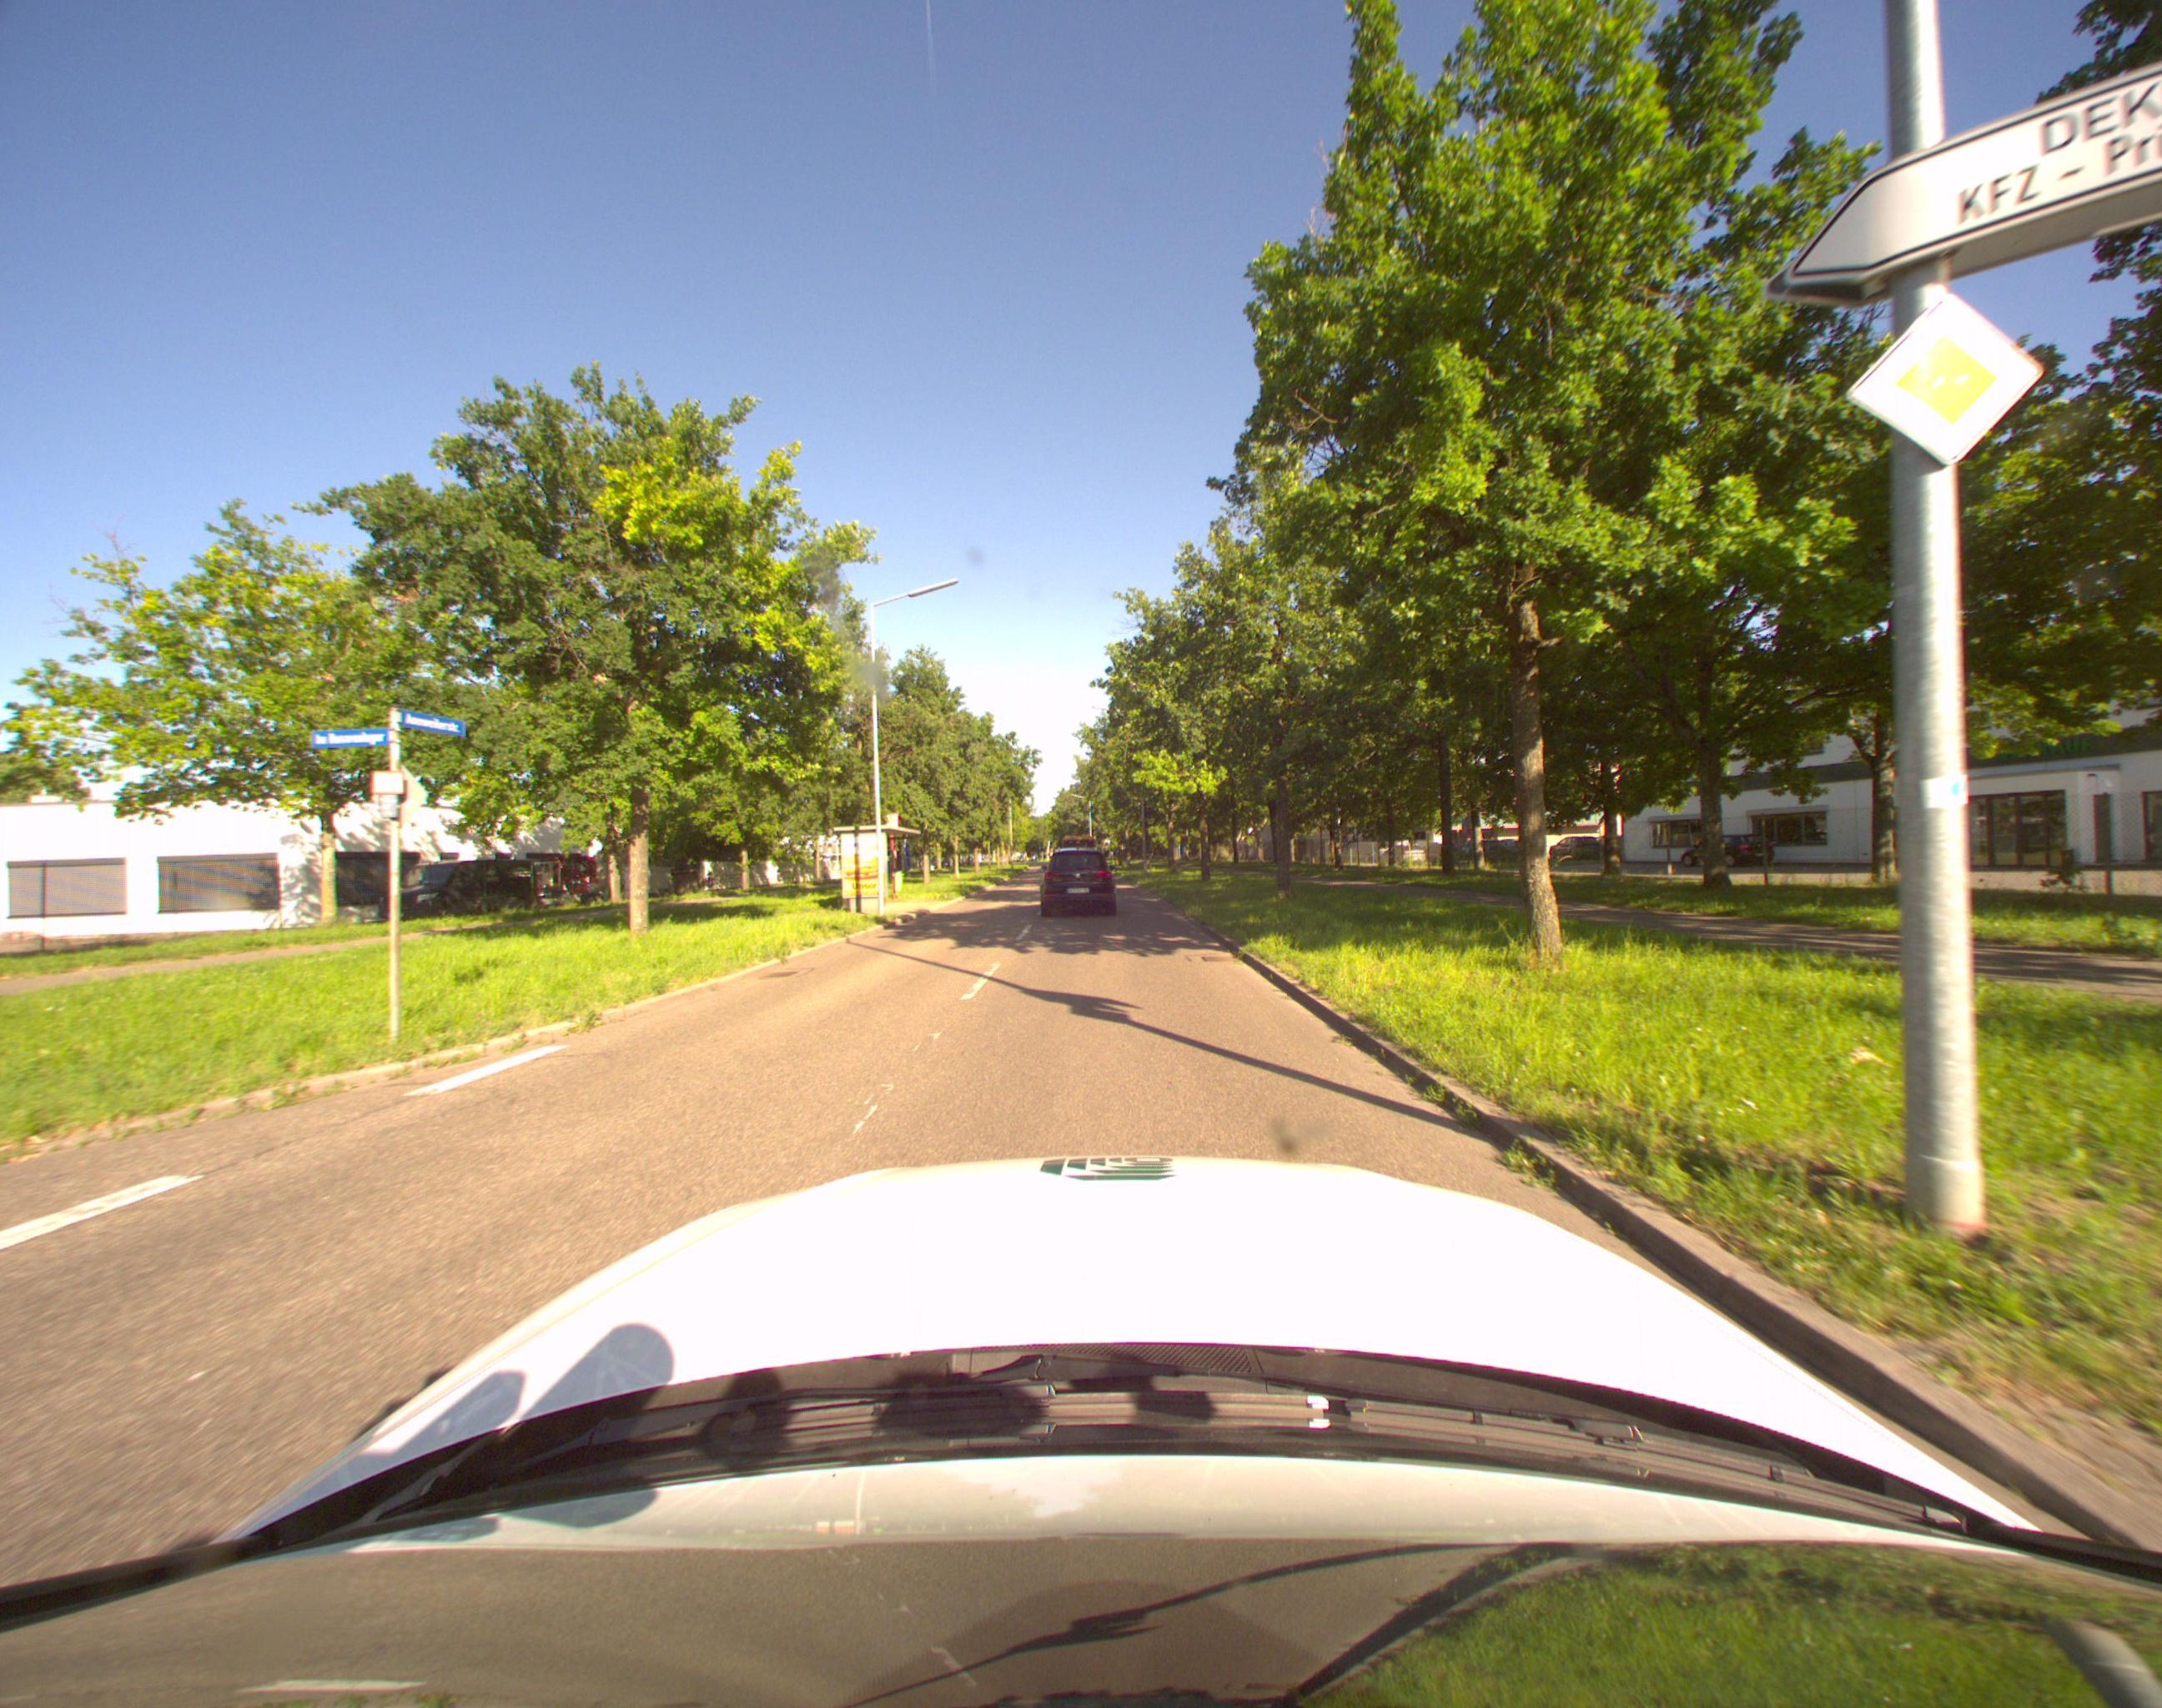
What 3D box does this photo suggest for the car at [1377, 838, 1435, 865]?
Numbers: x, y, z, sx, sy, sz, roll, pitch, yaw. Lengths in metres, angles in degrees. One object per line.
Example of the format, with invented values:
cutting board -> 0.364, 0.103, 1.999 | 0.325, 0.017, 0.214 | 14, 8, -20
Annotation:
car -> 23.444, -0.176, 58.917 | 2.178, 1.744, 4.639 | -2, 0, -2

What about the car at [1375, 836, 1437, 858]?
car -> 28.862, -0.621, 72.493 | 4.621, 1.744, 2.187 | -2, 0, -7

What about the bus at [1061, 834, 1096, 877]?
bus -> -0.142, 0.093, 72.720 | 2.755, 3.456, 11.211 | -2, 0, 1

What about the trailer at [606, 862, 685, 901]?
trailer -> -23.487, 1.444, 44.113 | 2.094, 1.914, 3.742 | -2, 0, 2

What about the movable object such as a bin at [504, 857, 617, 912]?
movable object such as a bin -> -23.481, 1.315, 36.976 | 2.094, 2.217, 4.462 | -2, 0, 2

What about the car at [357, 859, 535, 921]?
car -> -23.641, 1.247, 30.730 | 2.029, 1.988, 5.806 | -2, 0, 0

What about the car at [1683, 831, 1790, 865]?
car -> 29.898, -0.262, 37.303 | 1.760, 1.383, 3.765 | -2, 0, -2

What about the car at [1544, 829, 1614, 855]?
car -> 36.253, -0.829, 59.488 | 2.178, 1.744, 4.639 | -2, 0, -2

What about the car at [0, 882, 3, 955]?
car -> -24.169, 1.398, 15.782 | 4.476, 1.479, 1.945 | -2, 0, 7

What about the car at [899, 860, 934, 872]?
car -> -22.390, 1.633, 111.021 | 4.178, 1.321, 1.944 | -2, 0, 4

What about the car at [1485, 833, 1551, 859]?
car -> 31.752, -0.532, 59.347 | 2.178, 1.744, 4.639 | -2, 0, -2

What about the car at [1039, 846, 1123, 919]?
car -> 0.003, 0.646, 21.094 | 1.930, 1.656, 4.426 | -1, 0, 0
